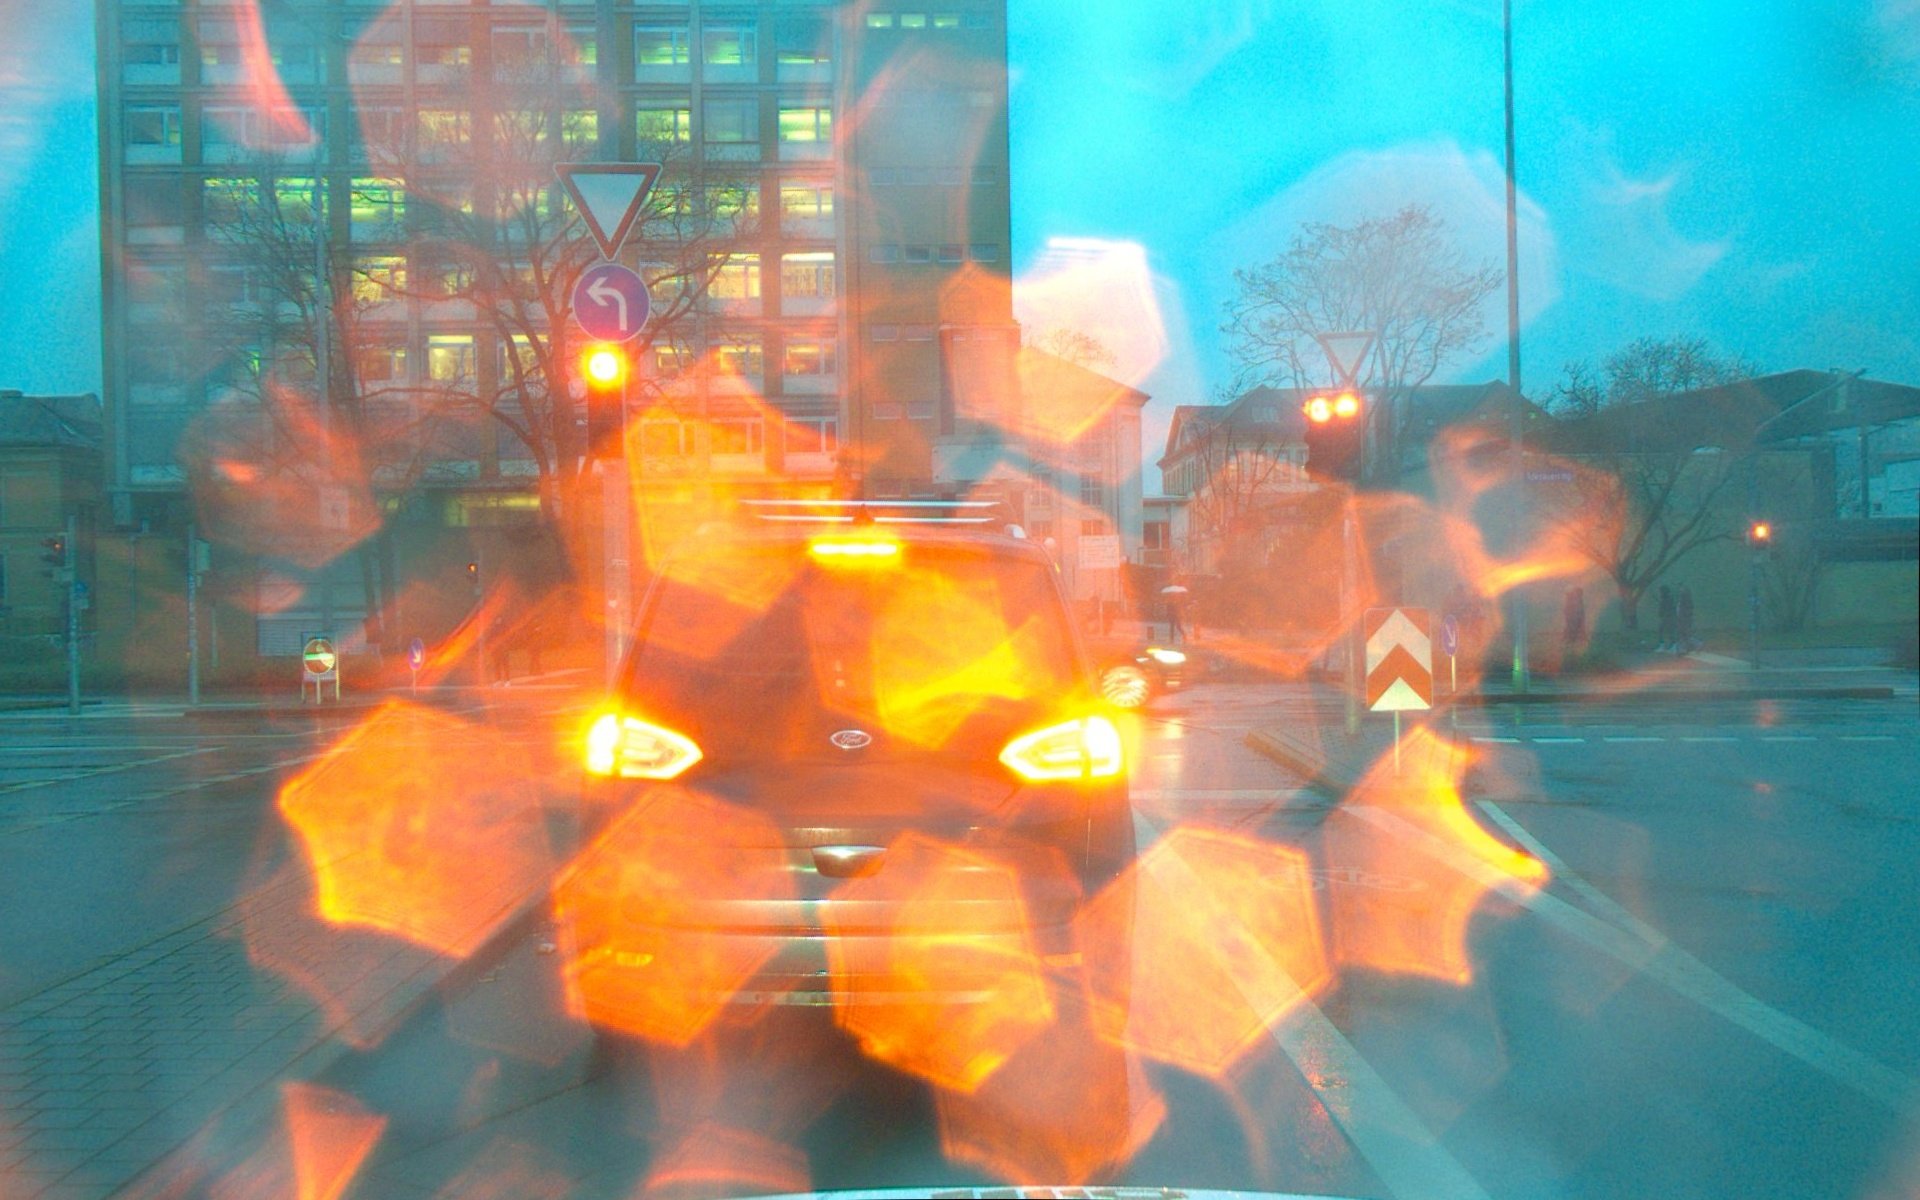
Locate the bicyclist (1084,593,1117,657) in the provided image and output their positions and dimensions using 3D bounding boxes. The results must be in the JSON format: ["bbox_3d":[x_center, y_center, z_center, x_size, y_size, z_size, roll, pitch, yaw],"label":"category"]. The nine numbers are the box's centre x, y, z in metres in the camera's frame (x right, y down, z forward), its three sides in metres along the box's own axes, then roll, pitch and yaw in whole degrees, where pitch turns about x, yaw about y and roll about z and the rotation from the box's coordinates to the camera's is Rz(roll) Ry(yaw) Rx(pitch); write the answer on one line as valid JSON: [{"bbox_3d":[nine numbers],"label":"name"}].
[{"bbox_3d":[3.635,0.636,42.714,0.670,1.627,0.660,-2,0,19],"label":"bicyclist"}]

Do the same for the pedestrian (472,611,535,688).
[{"bbox_3d":[-11.765,1.261,42.617,0.981,1.874,1.139,-2,2,22],"label":"pedestrian"}]

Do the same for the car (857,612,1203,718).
[{"bbox_3d":[1.032,0.891,23.117,4.583,1.324,1.940,-2,-1,10],"label":"car"}]

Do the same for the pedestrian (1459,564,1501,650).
[{"bbox_3d":[13.265,0.174,42.206,0.874,2.150,0.886,-2,0,11],"label":"pedestrian"}]

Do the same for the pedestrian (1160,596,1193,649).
[{"bbox_3d":[6.960,0.710,53.107,0.708,1.656,0.758,-2,0,41],"label":"pedestrian"}]

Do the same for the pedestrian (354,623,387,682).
[{"bbox_3d":[-17.661,1.574,49.549,0.625,1.718,0.637,-2,0,16],"label":"pedestrian"}]

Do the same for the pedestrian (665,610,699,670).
[{"bbox_3d":[-7.889,1.135,46.901,0.743,1.656,0.558,-2,0,12],"label":"pedestrian"}]

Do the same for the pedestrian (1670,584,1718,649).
[{"bbox_3d":[18.095,0.396,40.785,0.905,1.559,1.043,-2,0,15],"label":"pedestrian"}]

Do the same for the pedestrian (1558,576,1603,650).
[{"bbox_3d":[15.871,0.329,42.317,0.975,1.831,0.920,-2,0,17],"label":"pedestrian"}]

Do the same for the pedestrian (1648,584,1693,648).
[{"bbox_3d":[18.027,0.397,41.968,0.874,1.559,0.886,-2,0,15],"label":"pedestrian"}]

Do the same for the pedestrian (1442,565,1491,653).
[{"bbox_3d":[12.589,0.212,41.106,0.875,2.150,0.886,-2,0,-1],"label":"pedestrian"}]

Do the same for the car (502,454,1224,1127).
[{"bbox_3d":[-0.288,0.535,6.548,1.953,1.821,3.999,1,0,-1],"label":"car"}]

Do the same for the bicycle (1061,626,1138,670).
[{"bbox_3d":[3.606,1.232,42.737,1.844,1.066,0.660,-2,0,19],"label":"bicycle"}]
